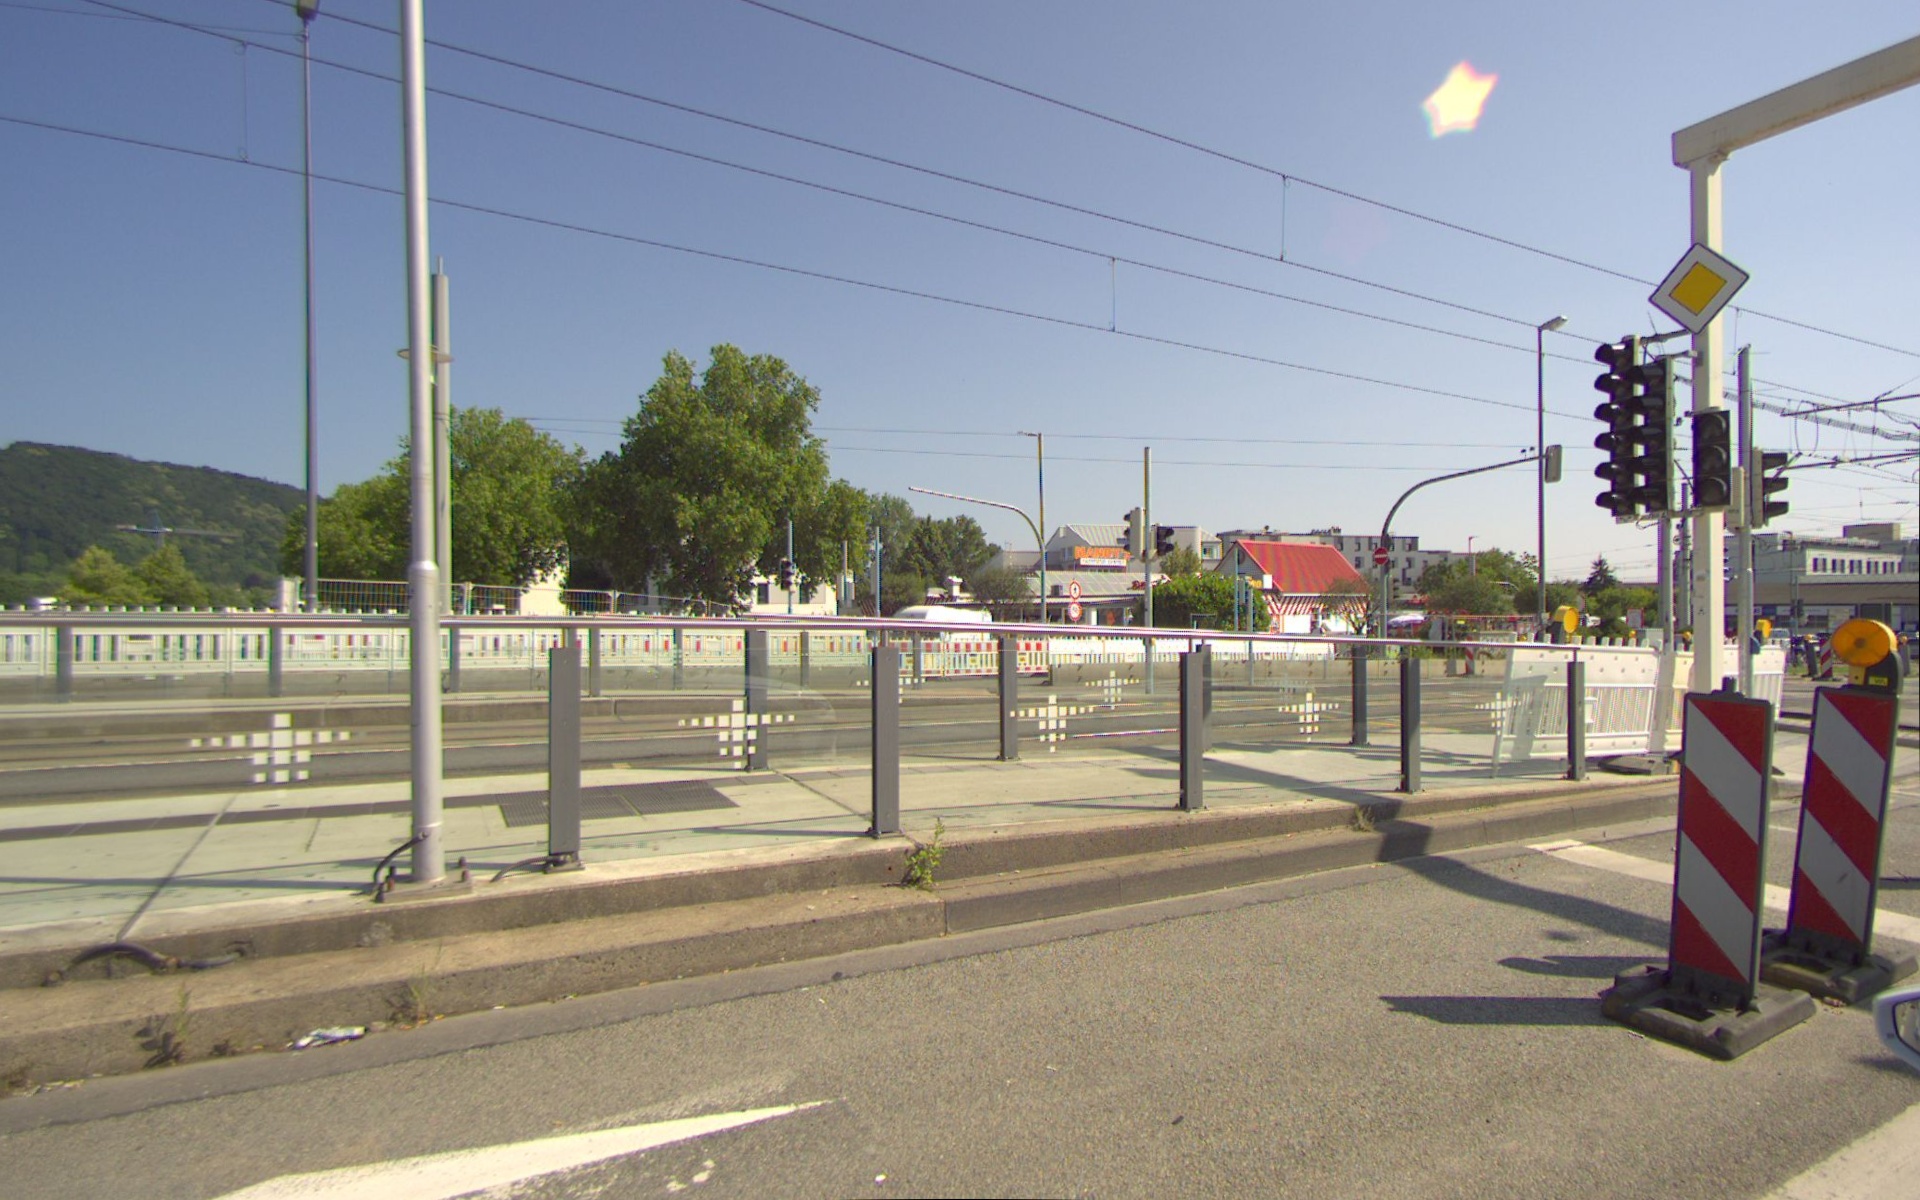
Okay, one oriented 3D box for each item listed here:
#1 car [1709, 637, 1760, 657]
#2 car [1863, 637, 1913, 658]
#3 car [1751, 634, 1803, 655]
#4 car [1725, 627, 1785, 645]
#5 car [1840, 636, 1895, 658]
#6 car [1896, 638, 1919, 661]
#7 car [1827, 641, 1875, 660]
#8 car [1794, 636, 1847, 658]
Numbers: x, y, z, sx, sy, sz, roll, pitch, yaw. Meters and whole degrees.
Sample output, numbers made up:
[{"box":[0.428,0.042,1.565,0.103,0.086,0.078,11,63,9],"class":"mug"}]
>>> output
[{"box":[60.819,3.658,78.865,3.953,1.558,1.769,1,-3,-30],"class":"car"},{"box":[71.325,3.643,77.190,3.953,1.558,1.769,1,0,-30],"class":"car"},{"box":[62.368,3.377,76.668,3.953,1.558,1.769,1,-3,-30],"class":"car"},{"box":[72.754,3.294,91.951,3.920,1.558,1.784,-1,-2,18],"class":"car"},{"box":[64.753,3.338,71.647,3.953,1.558,1.769,1,-3,-30],"class":"car"},{"box":[66.051,3.359,68.810,3.953,1.558,1.769,1,-3,-30],"class":"car"},{"box":[73.838,4.168,83.246,3.953,1.558,1.769,1,-3,-30],"class":"car"},{"box":[63.875,3.463,74.533,3.953,1.558,1.769,1,-3,-30],"class":"car"}]
